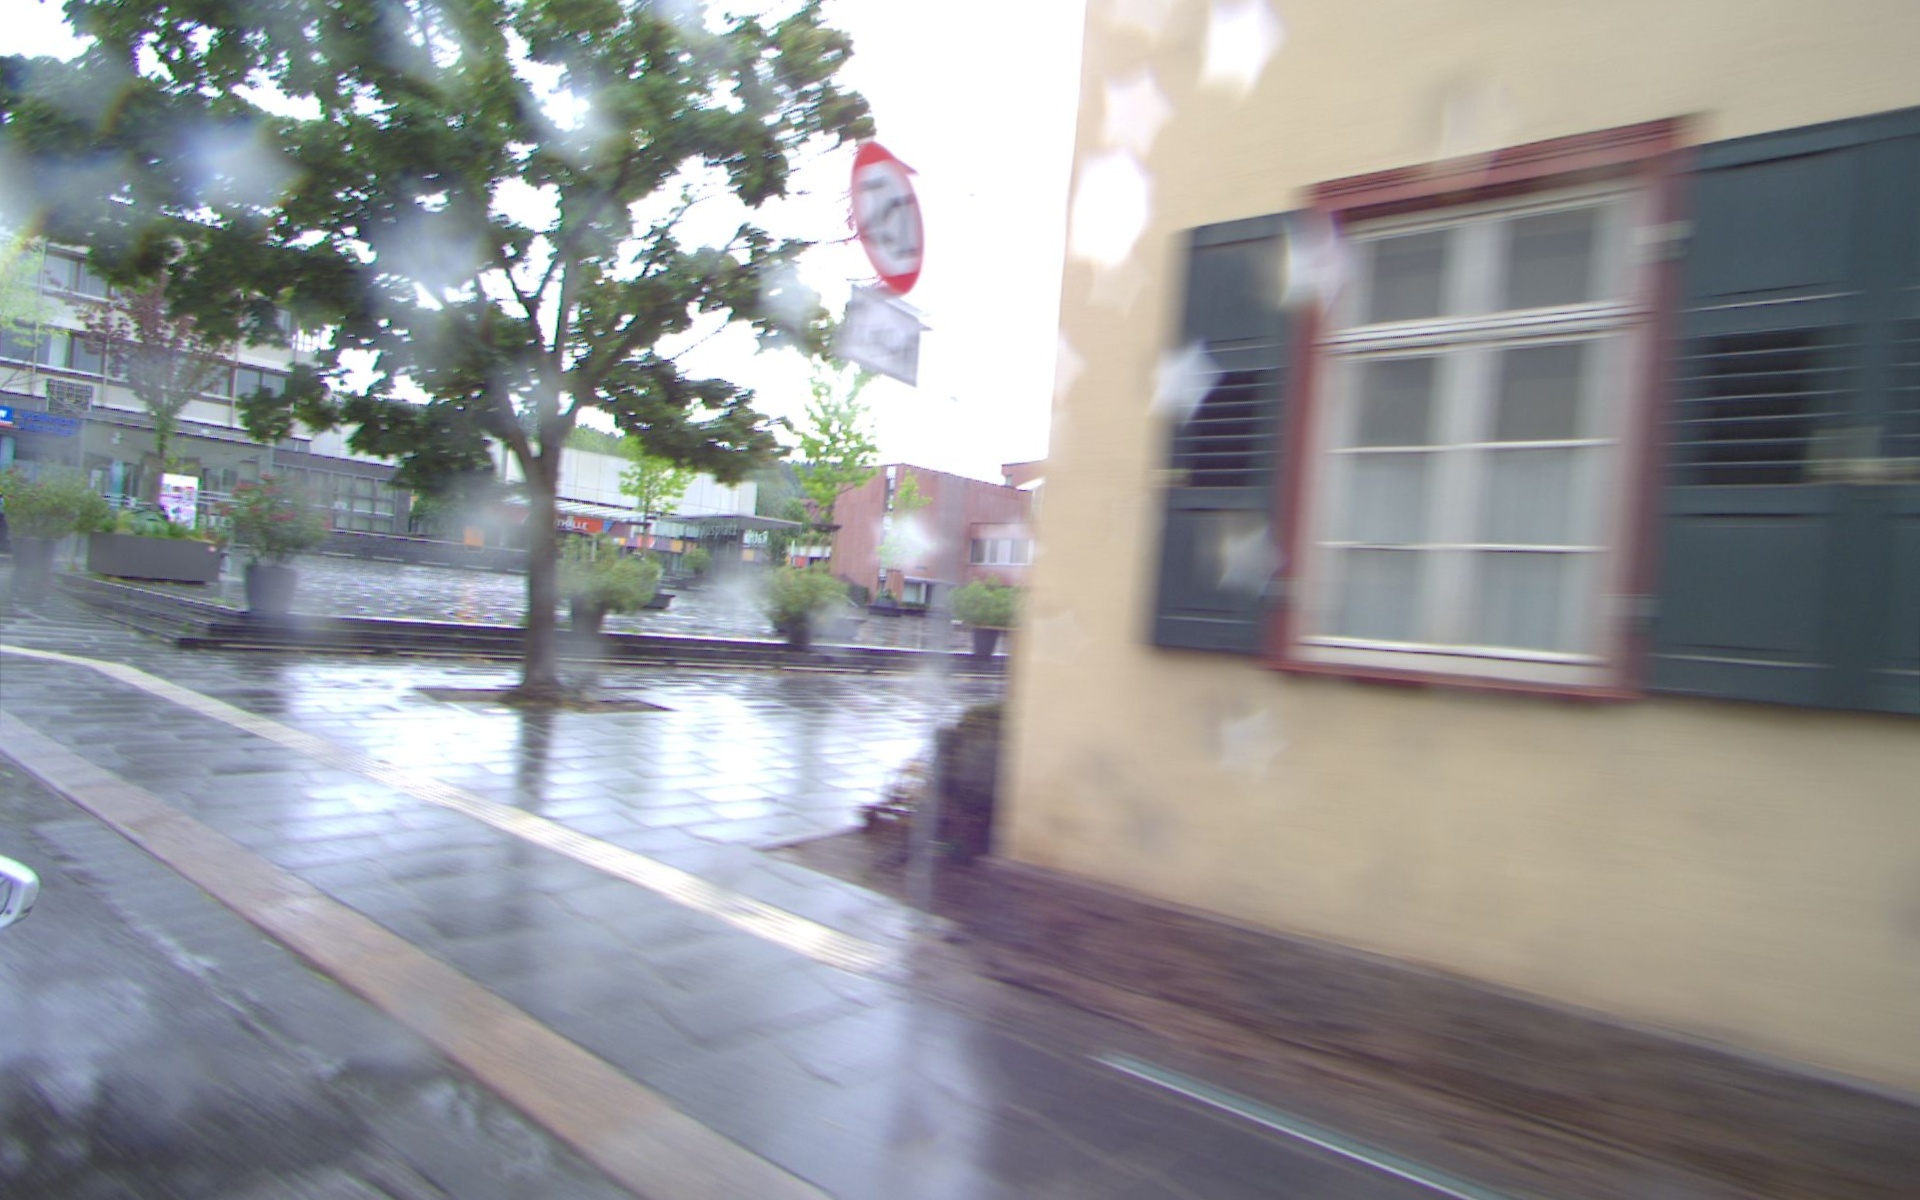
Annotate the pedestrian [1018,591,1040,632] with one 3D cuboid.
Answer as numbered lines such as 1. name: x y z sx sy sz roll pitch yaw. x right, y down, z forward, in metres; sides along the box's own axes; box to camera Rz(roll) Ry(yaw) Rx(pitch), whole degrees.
1. pedestrian: 3.512 0.581 51.450 0.847 2.040 0.731 5 1 -8

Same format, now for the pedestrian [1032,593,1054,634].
1. pedestrian: 4.301 0.669 52.015 0.847 2.040 0.731 5 1 -8

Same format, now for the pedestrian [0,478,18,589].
1. pedestrian: -14.735 -1.030 15.085 0.683 1.638 0.727 6 1 37
